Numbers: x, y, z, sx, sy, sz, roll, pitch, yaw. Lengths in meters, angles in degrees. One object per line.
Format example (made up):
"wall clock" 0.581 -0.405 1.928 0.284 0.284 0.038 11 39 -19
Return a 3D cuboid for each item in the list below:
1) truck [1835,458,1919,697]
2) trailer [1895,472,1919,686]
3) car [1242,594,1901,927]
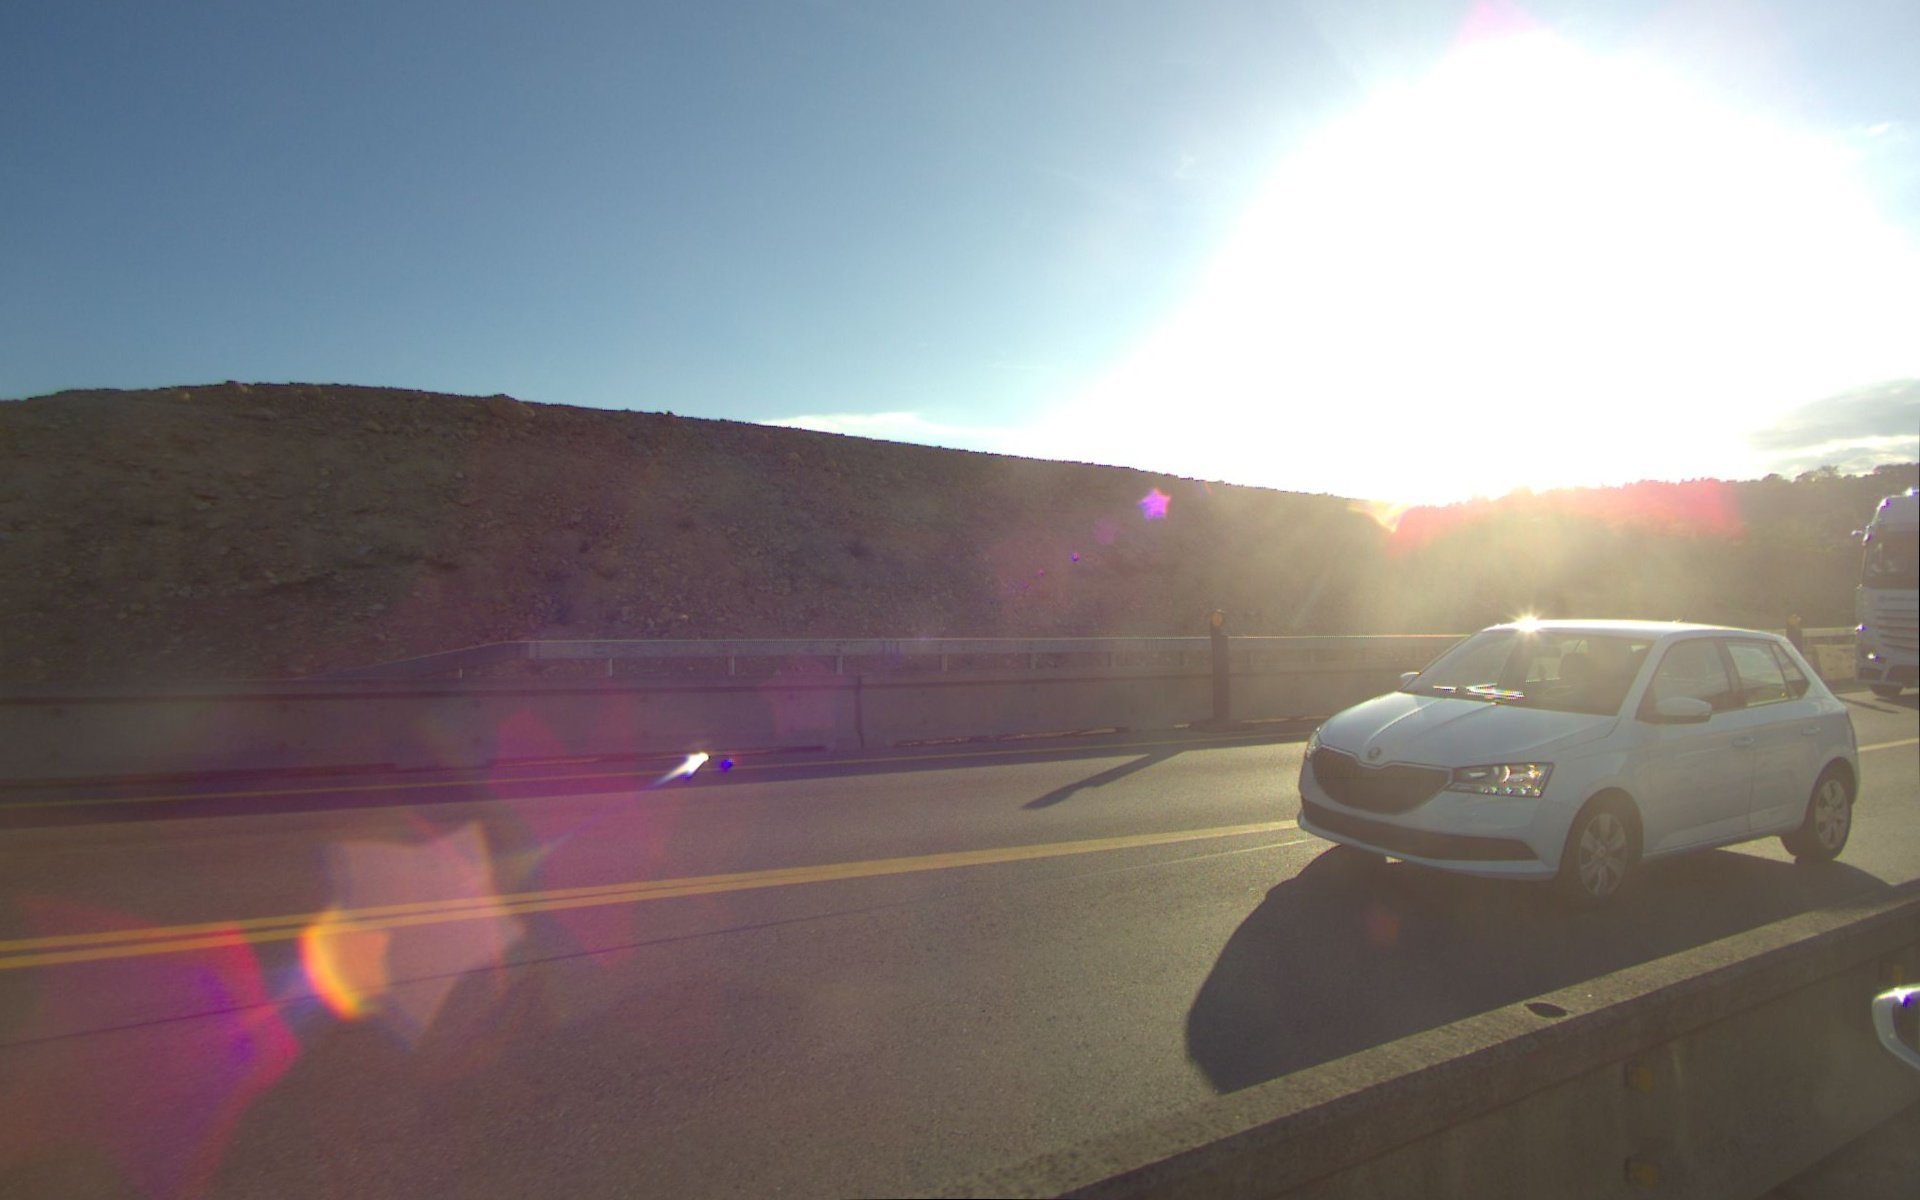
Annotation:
"truck" 19.838 -0.352 19.396 5.979 4.277 2.540 1 1 -30
"trailer" 25.505 -0.272 22.722 13.772 4.270 2.518 1 1 -31
"car" 3.967 0.816 6.386 4.169 1.508 1.781 2 -2 -29
